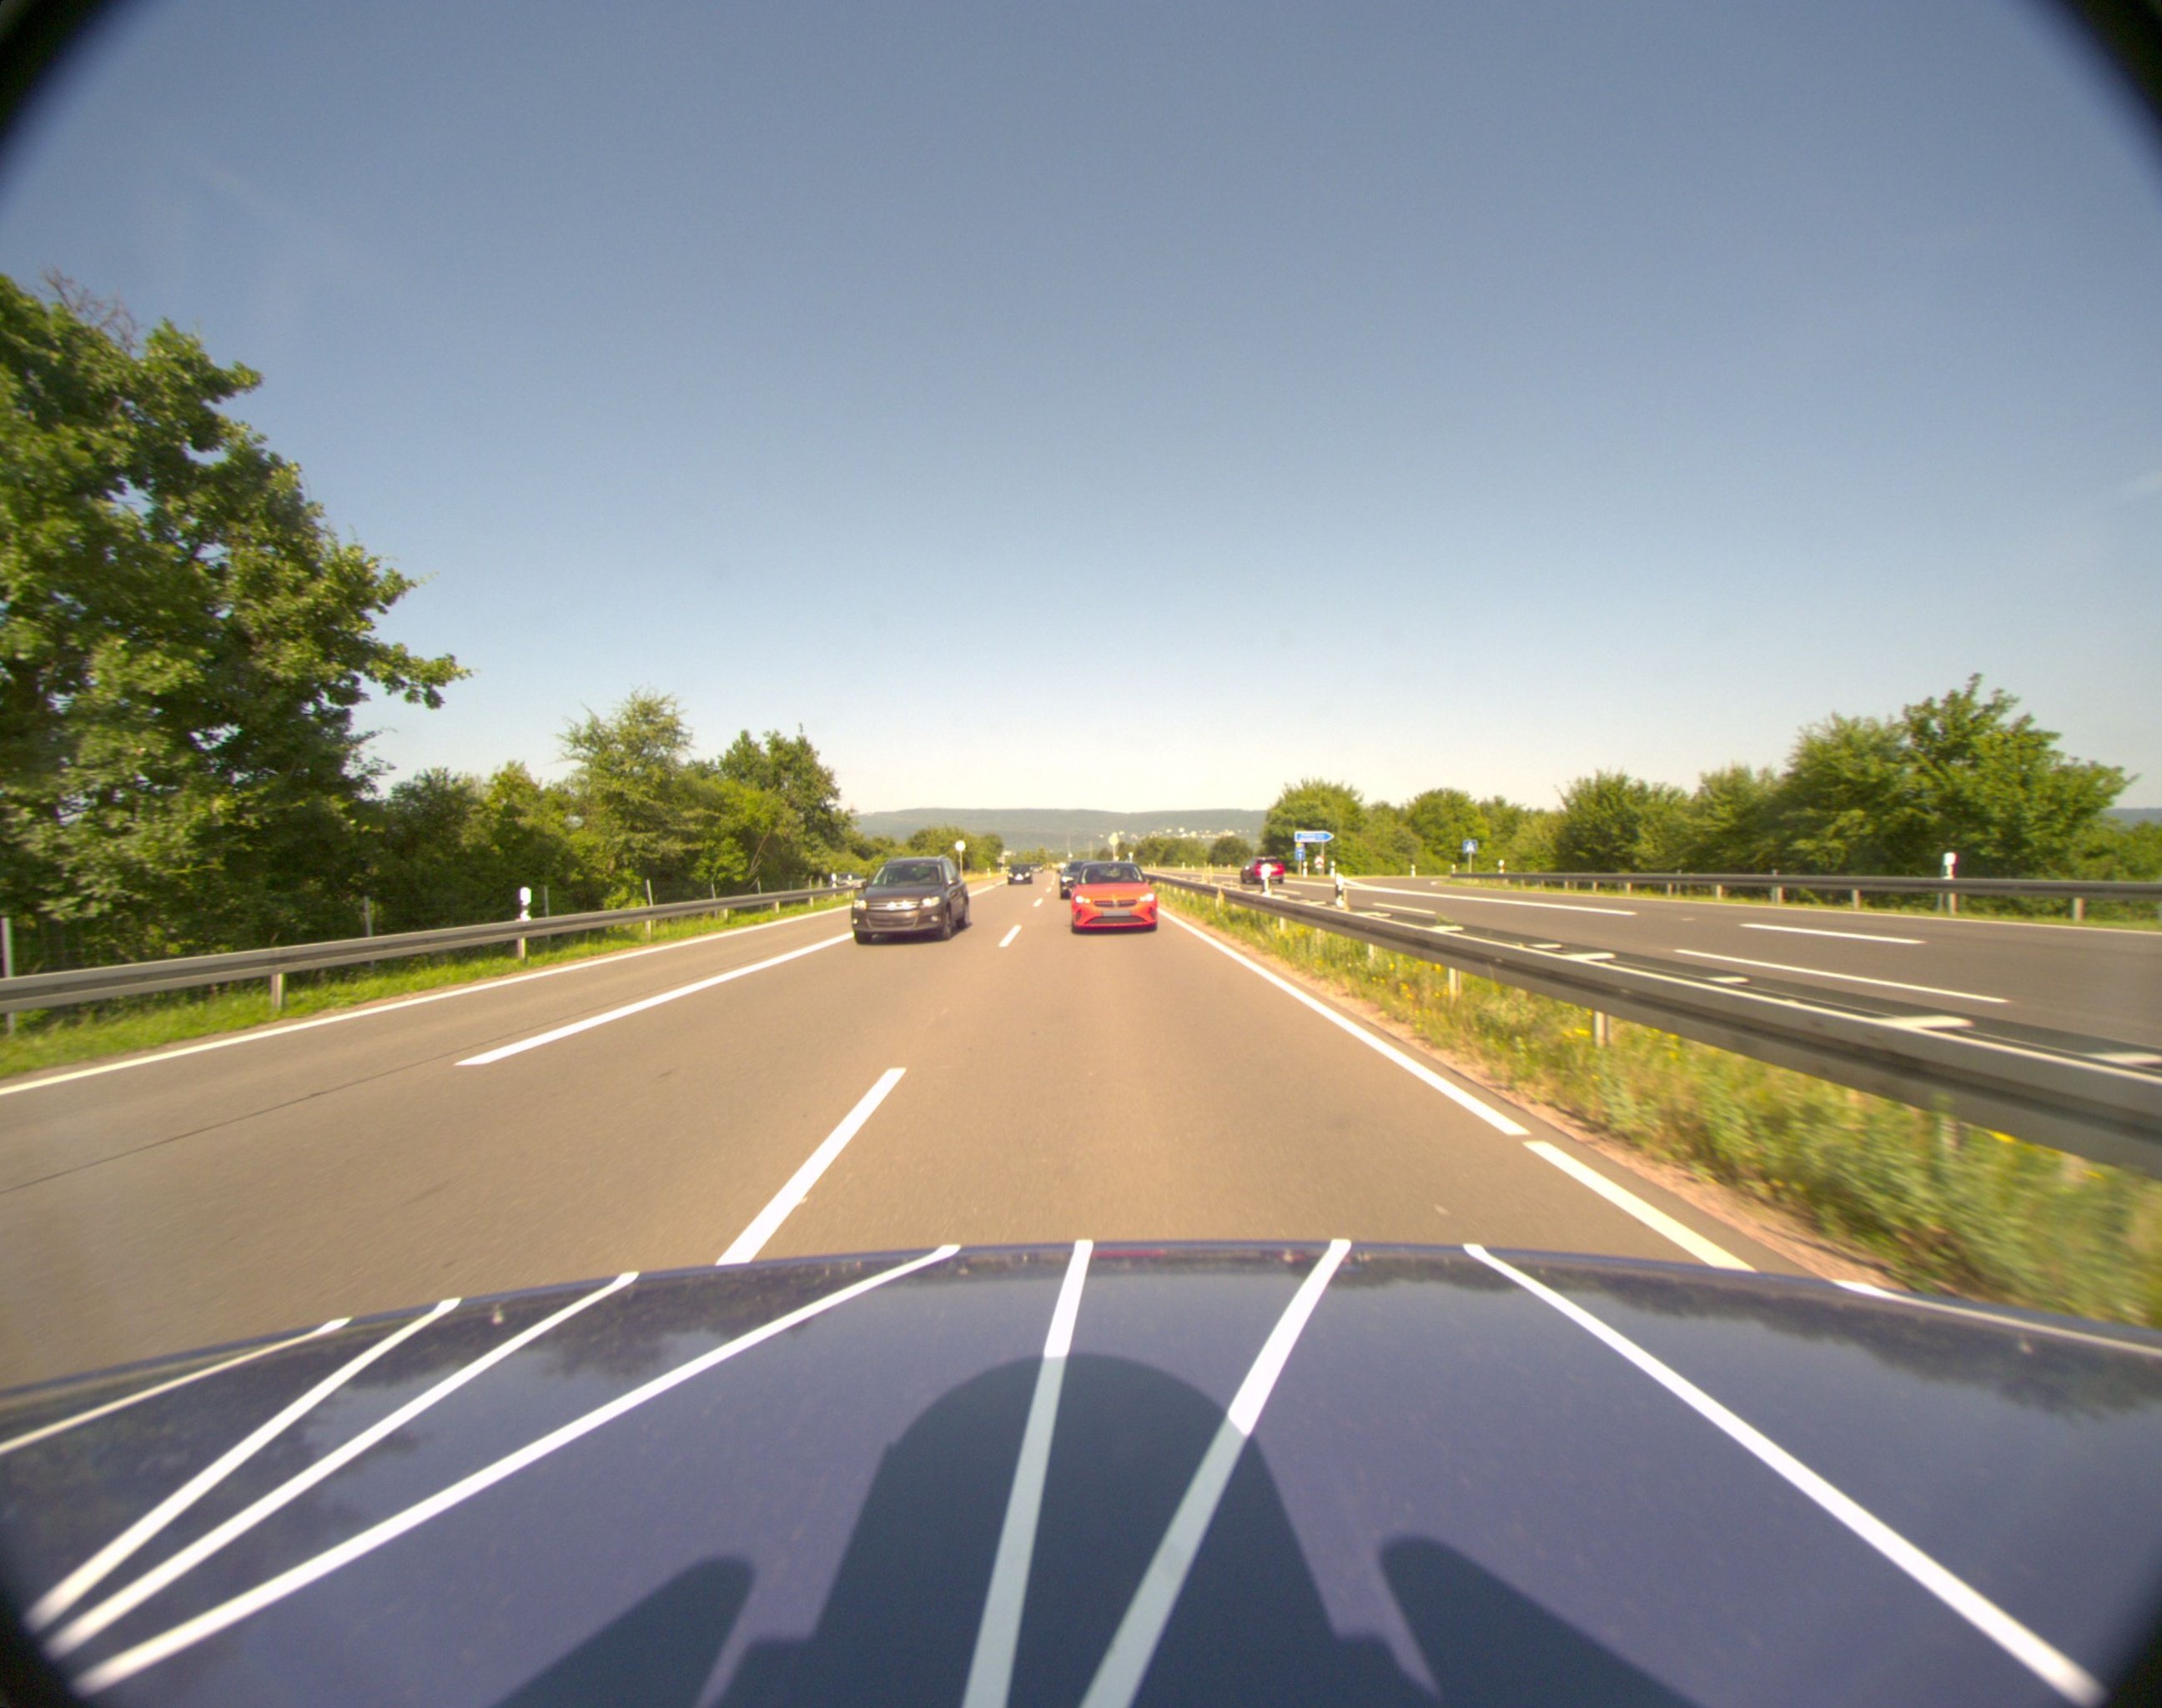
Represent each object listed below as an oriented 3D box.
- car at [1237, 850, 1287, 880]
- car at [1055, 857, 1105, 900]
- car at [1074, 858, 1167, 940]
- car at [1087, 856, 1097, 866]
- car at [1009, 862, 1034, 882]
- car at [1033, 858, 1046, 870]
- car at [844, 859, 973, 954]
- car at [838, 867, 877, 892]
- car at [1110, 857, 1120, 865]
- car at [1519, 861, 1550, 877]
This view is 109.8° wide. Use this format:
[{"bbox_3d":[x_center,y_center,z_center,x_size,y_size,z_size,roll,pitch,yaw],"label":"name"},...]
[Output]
[{"bbox_3d":[10.221,0.590,43.167,1.647,1.565,4.263,-3,0,-1],"label":"car"},{"bbox_3d":[-0.041,0.922,30.120,1.788,1.524,4.375,-2,0,0],"label":"car"},{"bbox_3d":[0.773,0.868,16.607,1.713,1.429,4.411,-2,0,1],"label":"car"},{"bbox_3d":[2.839,1.684,195.405,2.120,2.361,5.879,-3,0,-2],"label":"car"},{"bbox_3d":[-4.018,1.204,51.825,1.601,1.241,3.998,-3,0,-3],"label":"car"},{"bbox_3d":[-6.037,1.452,109.665,1.768,1.652,3.998,-3,0,-4],"label":"car"},{"bbox_3d":[-3.450,0.972,15.973,1.790,1.637,4.147,-2,0,-1],"label":"car"},{"bbox_3d":[-17.567,1.979,59.614,1.868,1.657,3.989,-3,4,-32],"label":"car"},{"bbox_3d":[6.571,1.315,148.110,1.633,1.448,3.768,-1,-1,-2],"label":"car"},{"bbox_3d":[46.127,1.559,77.250,1.592,1.485,4.825,3,1,43],"label":"car"}]
